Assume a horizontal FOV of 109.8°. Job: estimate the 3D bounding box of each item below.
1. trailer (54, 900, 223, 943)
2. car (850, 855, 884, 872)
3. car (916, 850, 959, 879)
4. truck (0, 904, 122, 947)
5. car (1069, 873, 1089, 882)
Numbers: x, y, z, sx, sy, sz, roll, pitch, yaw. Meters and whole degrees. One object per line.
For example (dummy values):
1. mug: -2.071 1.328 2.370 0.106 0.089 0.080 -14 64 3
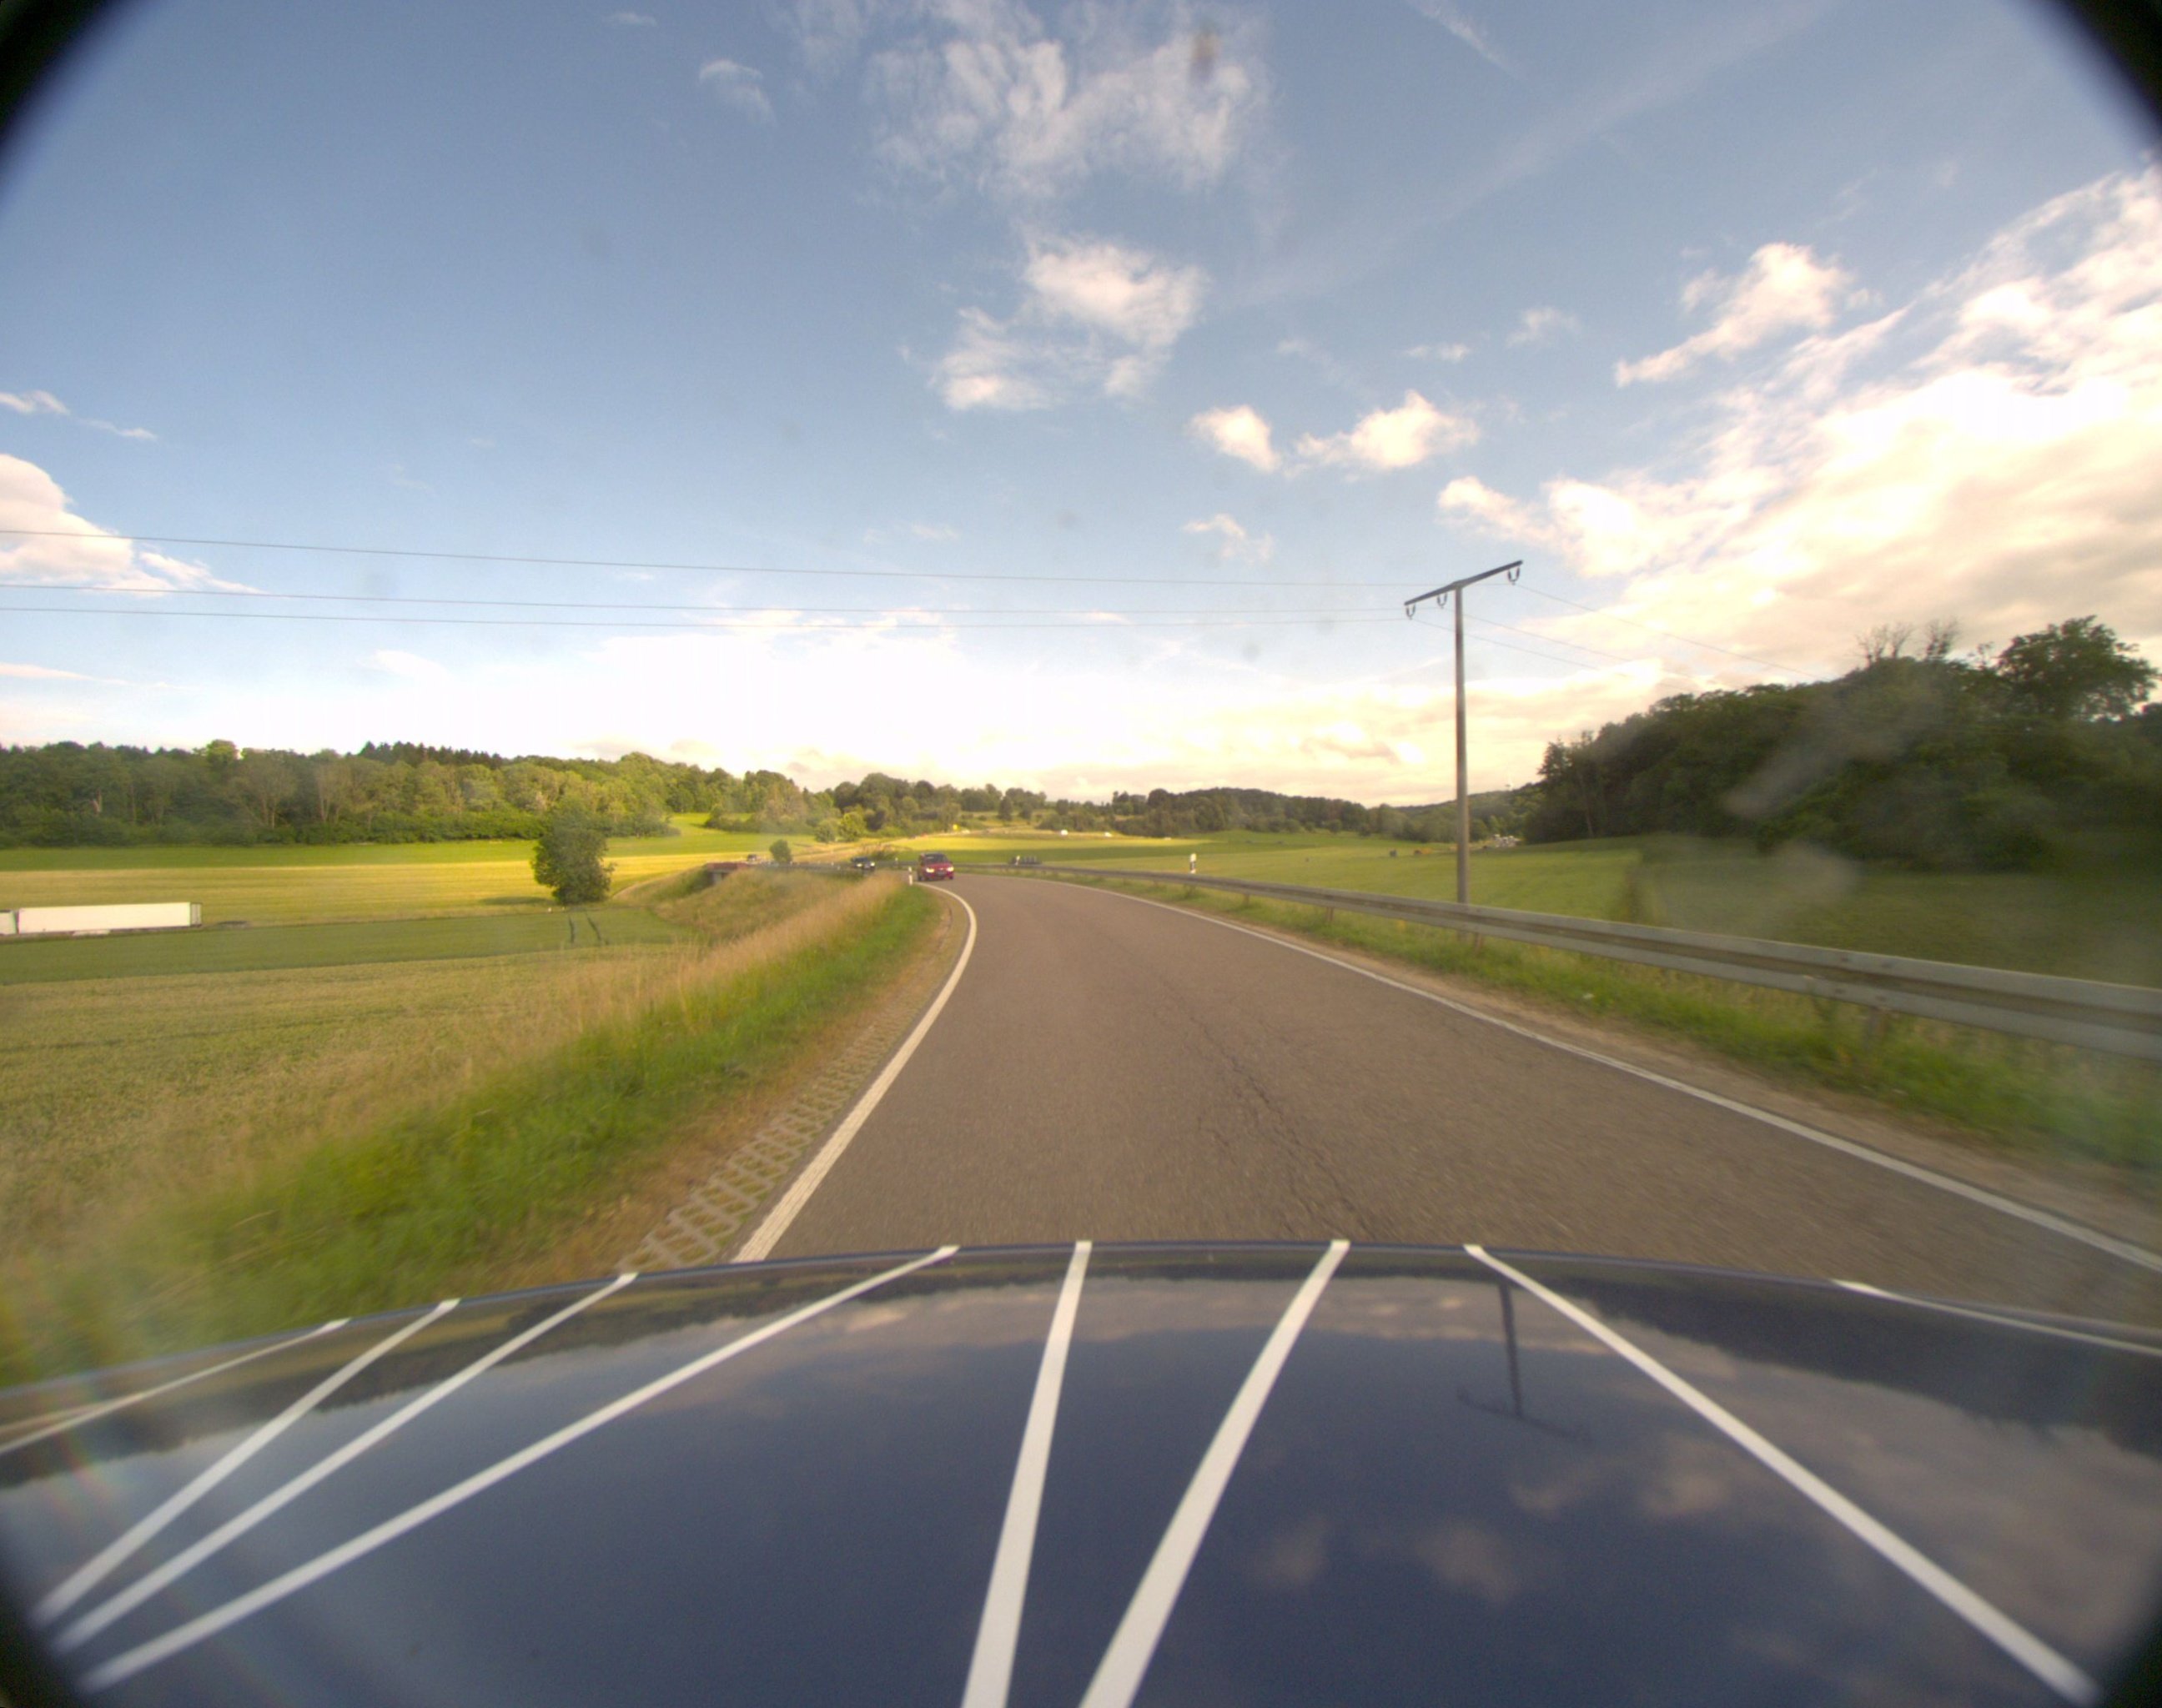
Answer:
1. trailer: -115.207 8.177 93.240 12.746 4.441 3.026 -1 -2 -29
2. car: -20.872 0.944 74.053 1.826 1.601 3.990 -1 -1 -36
3. car: -9.343 0.714 49.300 1.824 1.645 3.993 -6 1 -22
4. truck: -120.761 8.338 90.115 8.068 4.441 3.024 -1 -2 -29
5. car: -0.403 4.760 157.215 4.007 1.641 1.823 -2 2 -37
